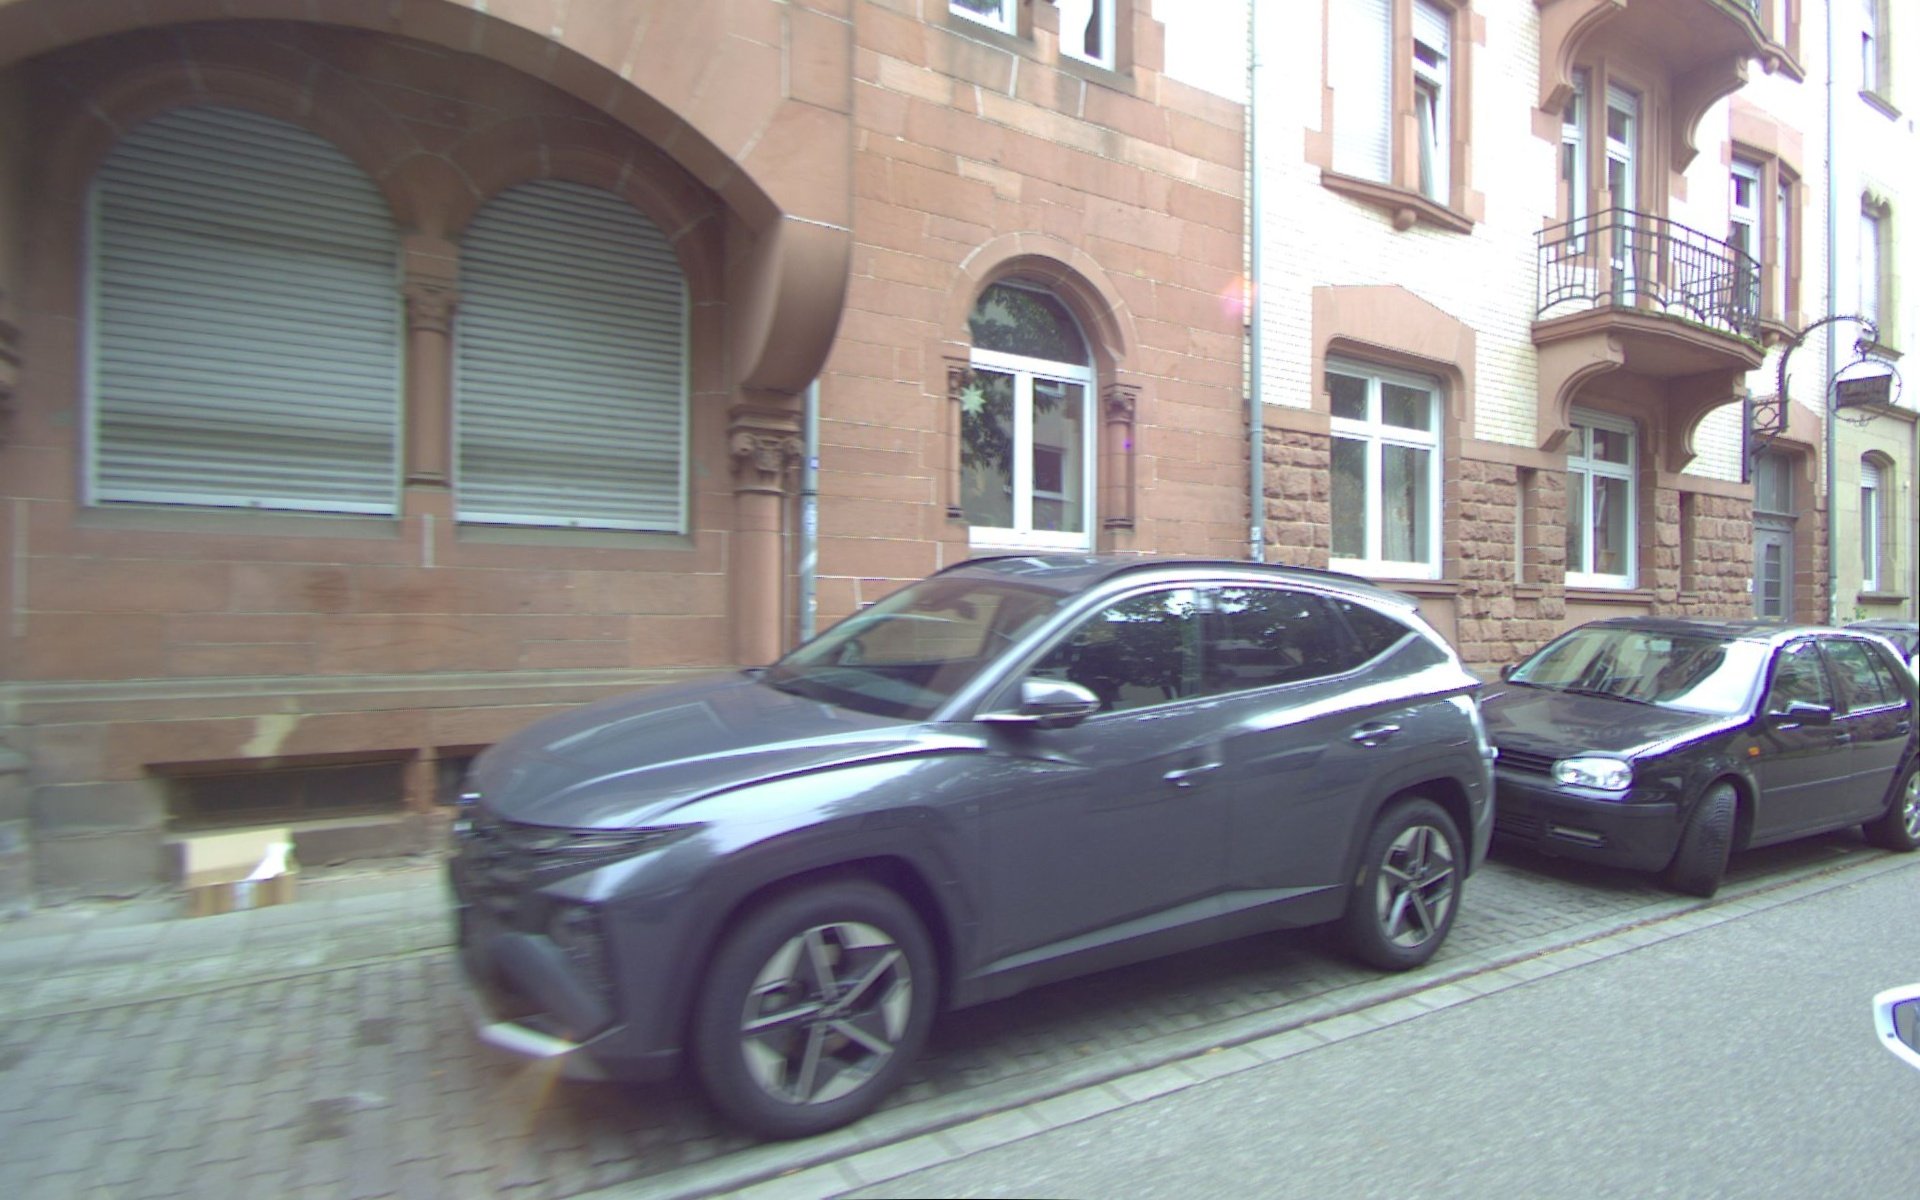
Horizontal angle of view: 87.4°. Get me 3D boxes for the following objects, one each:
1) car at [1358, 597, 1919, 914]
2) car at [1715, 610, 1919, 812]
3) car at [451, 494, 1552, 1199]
[{"bbox_3d":[4.581,0.811,6.490,3.953,1.492,1.627,2,0,-30],"label":"car"},{"bbox_3d":[8.703,0.898,9.024,3.953,1.492,1.659,2,0,-30],"label":"car"},{"bbox_3d":[0.350,0.609,4.182,4.311,1.669,1.777,1,0,-31],"label":"car"}]
